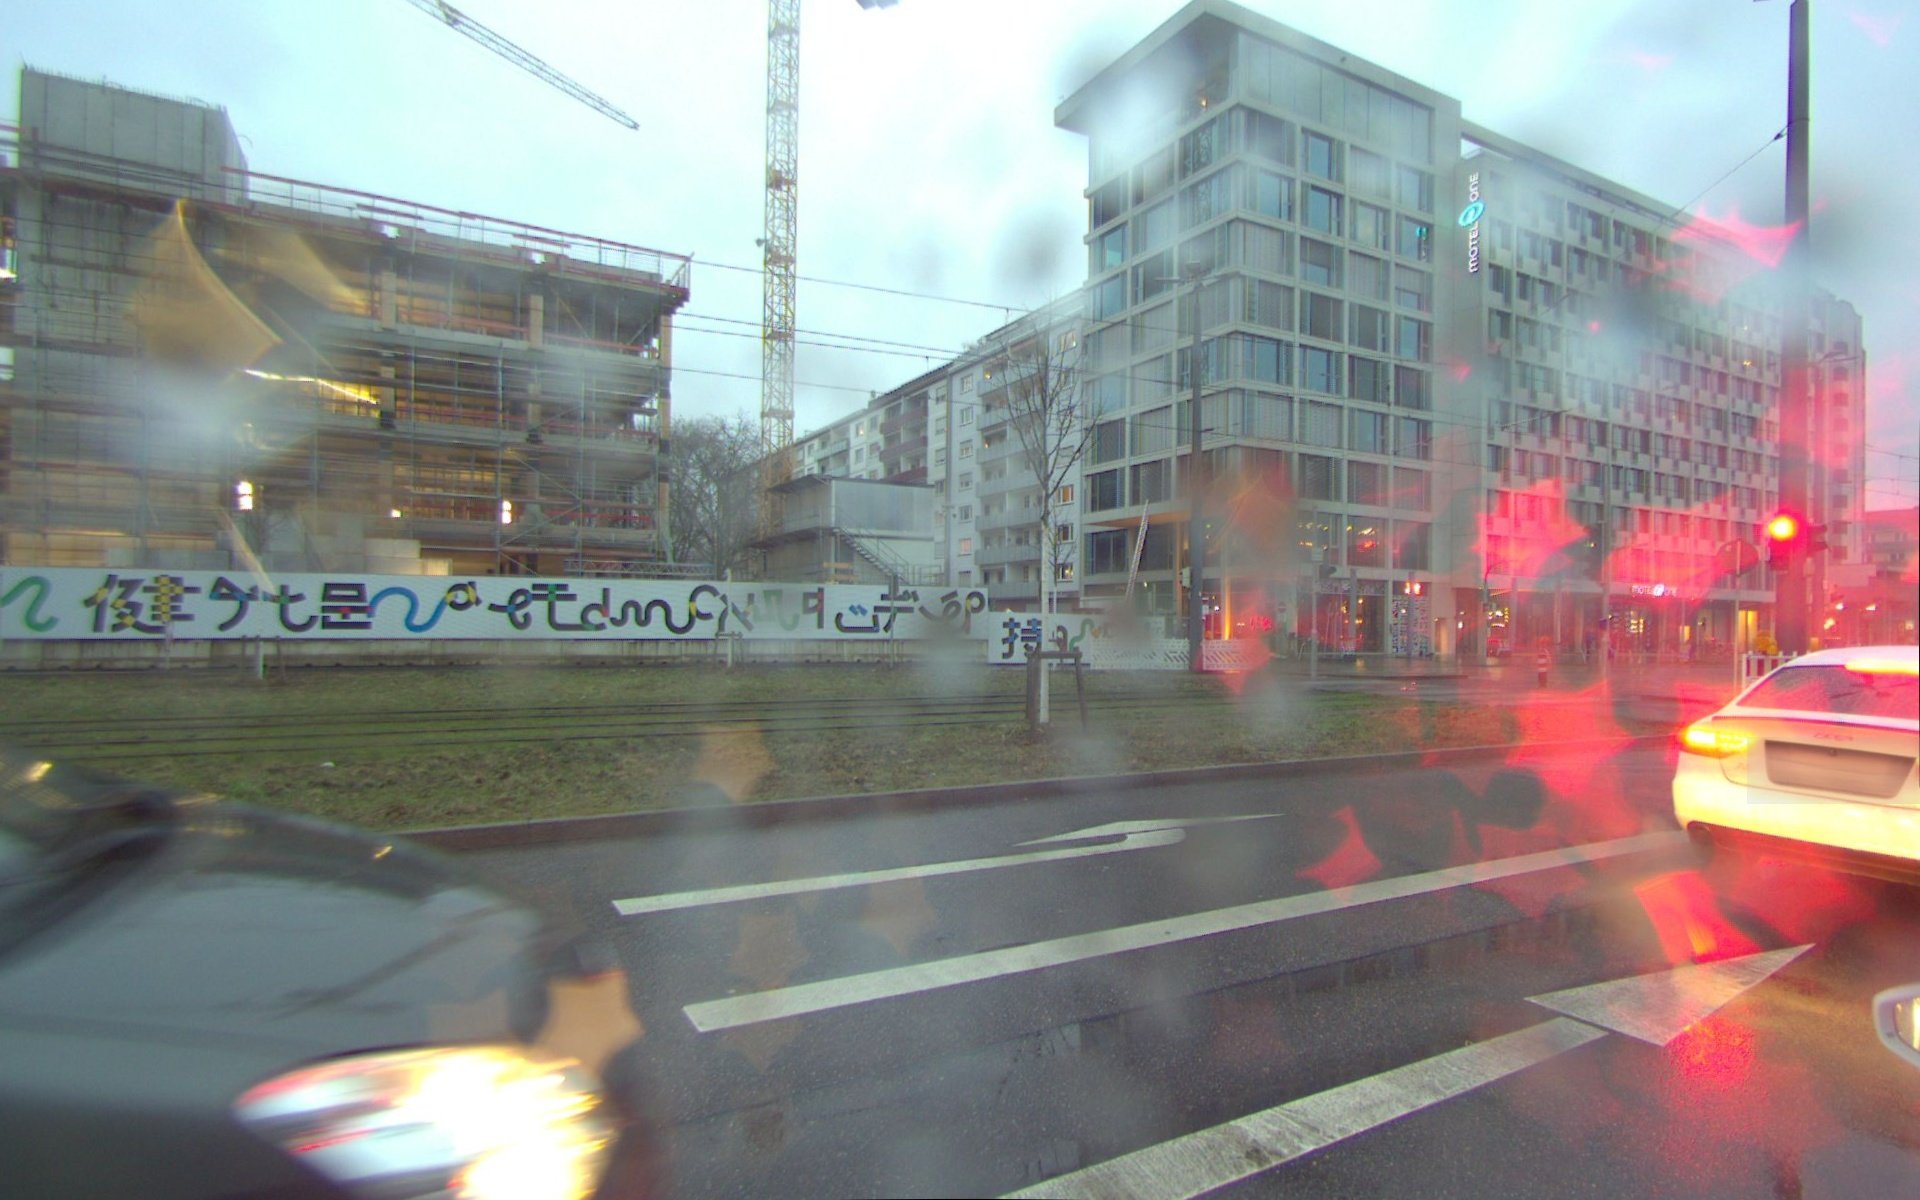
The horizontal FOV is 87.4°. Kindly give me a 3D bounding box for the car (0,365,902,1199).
[{"bbox_3d":[-2.288,0.596,1.087,4.089,1.668,1.801,1,0,-32],"label":"car"}]

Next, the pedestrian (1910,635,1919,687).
[{"bbox_3d":[32.824,2.085,34.072,0.808,1.734,0.782,2,0,-45],"label":"pedestrian"}]

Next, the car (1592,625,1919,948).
[{"bbox_3d":[6.085,0.932,6.255,4.320,1.475,1.983,1,0,-32],"label":"car"}]
